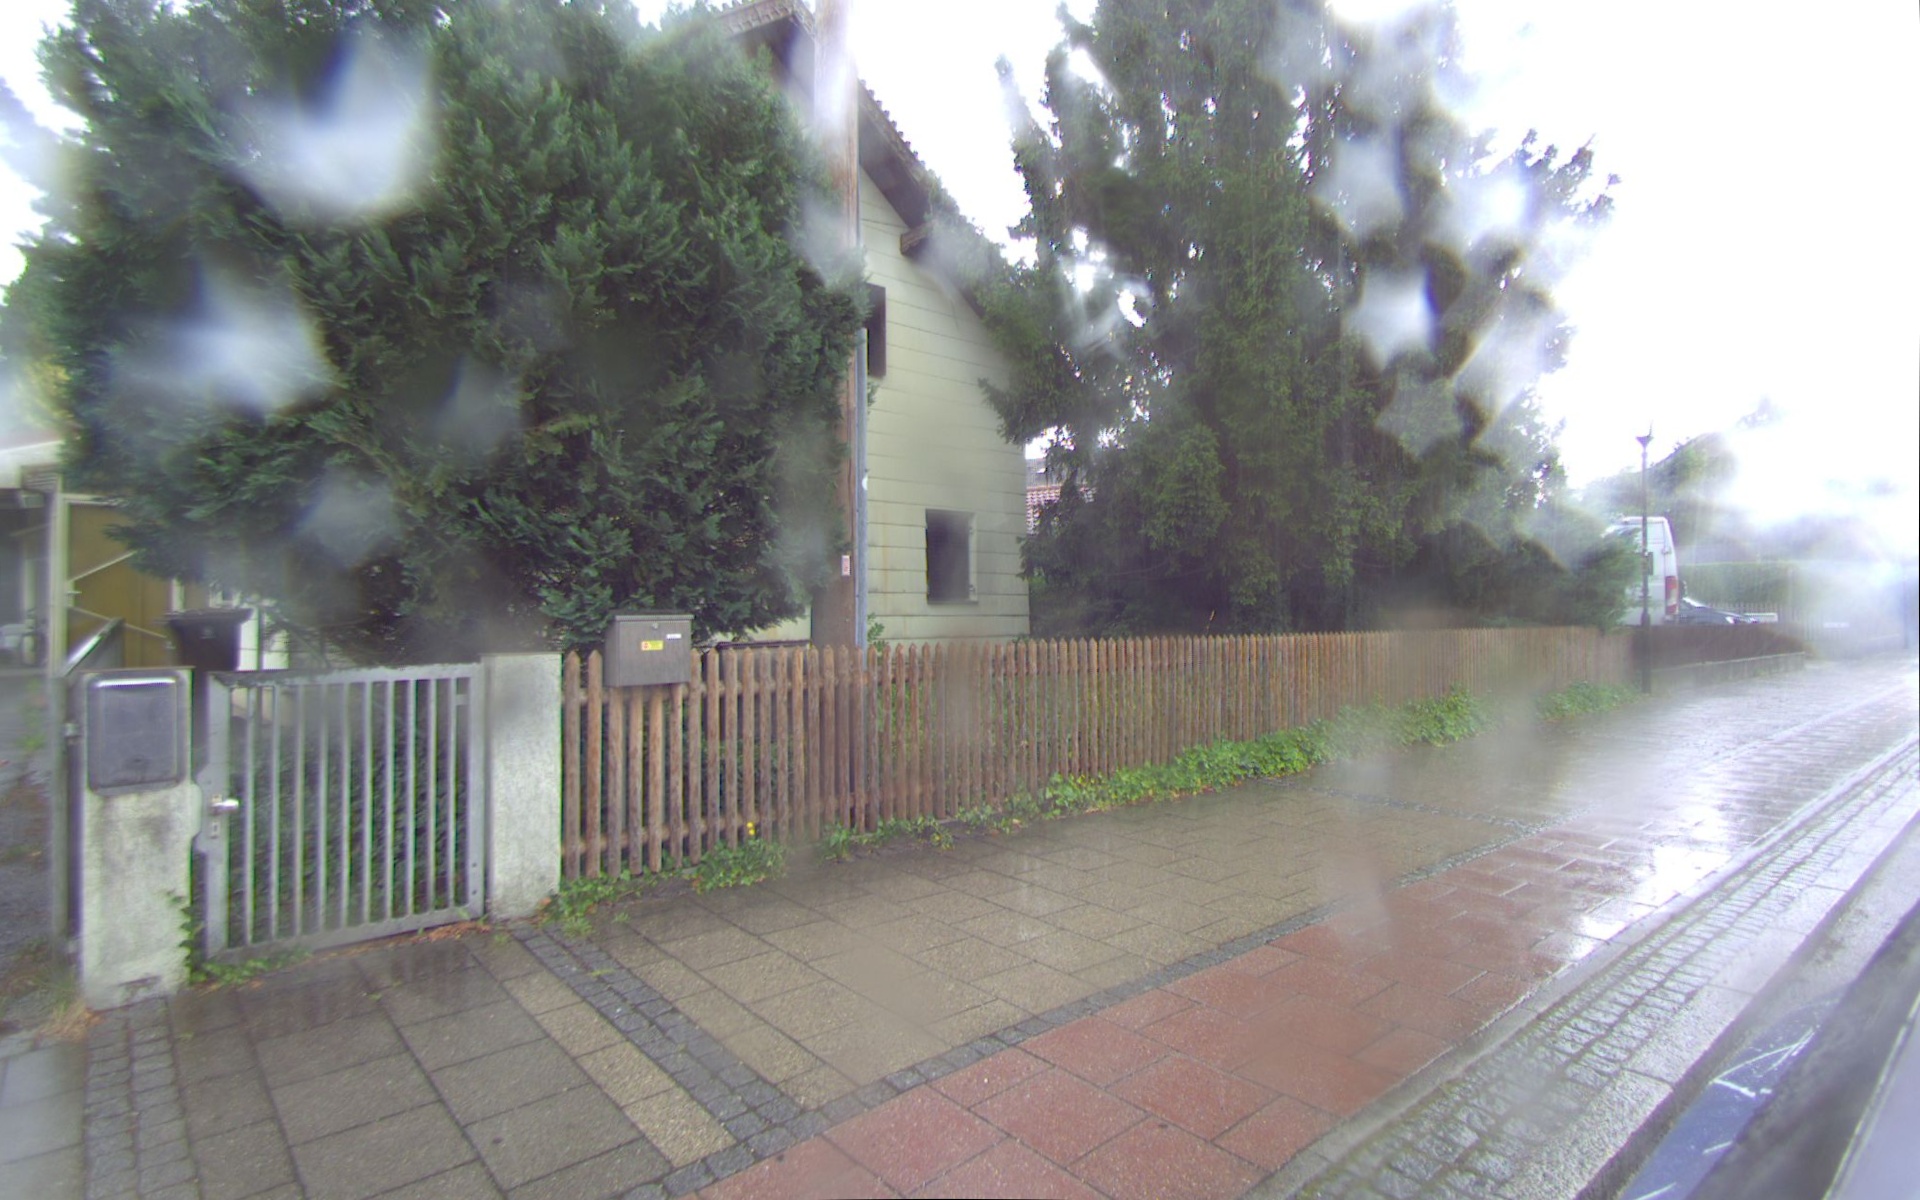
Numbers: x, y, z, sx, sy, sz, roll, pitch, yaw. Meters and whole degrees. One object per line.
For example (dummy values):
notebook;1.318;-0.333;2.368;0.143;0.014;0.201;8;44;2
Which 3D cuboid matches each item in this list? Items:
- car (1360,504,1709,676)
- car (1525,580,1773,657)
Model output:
car;10.466;-0.270;18.729;5.298;2.761;1.971;3;2;41
car;15.505;0.338;22.935;4.428;1.438;1.803;3;3;42
